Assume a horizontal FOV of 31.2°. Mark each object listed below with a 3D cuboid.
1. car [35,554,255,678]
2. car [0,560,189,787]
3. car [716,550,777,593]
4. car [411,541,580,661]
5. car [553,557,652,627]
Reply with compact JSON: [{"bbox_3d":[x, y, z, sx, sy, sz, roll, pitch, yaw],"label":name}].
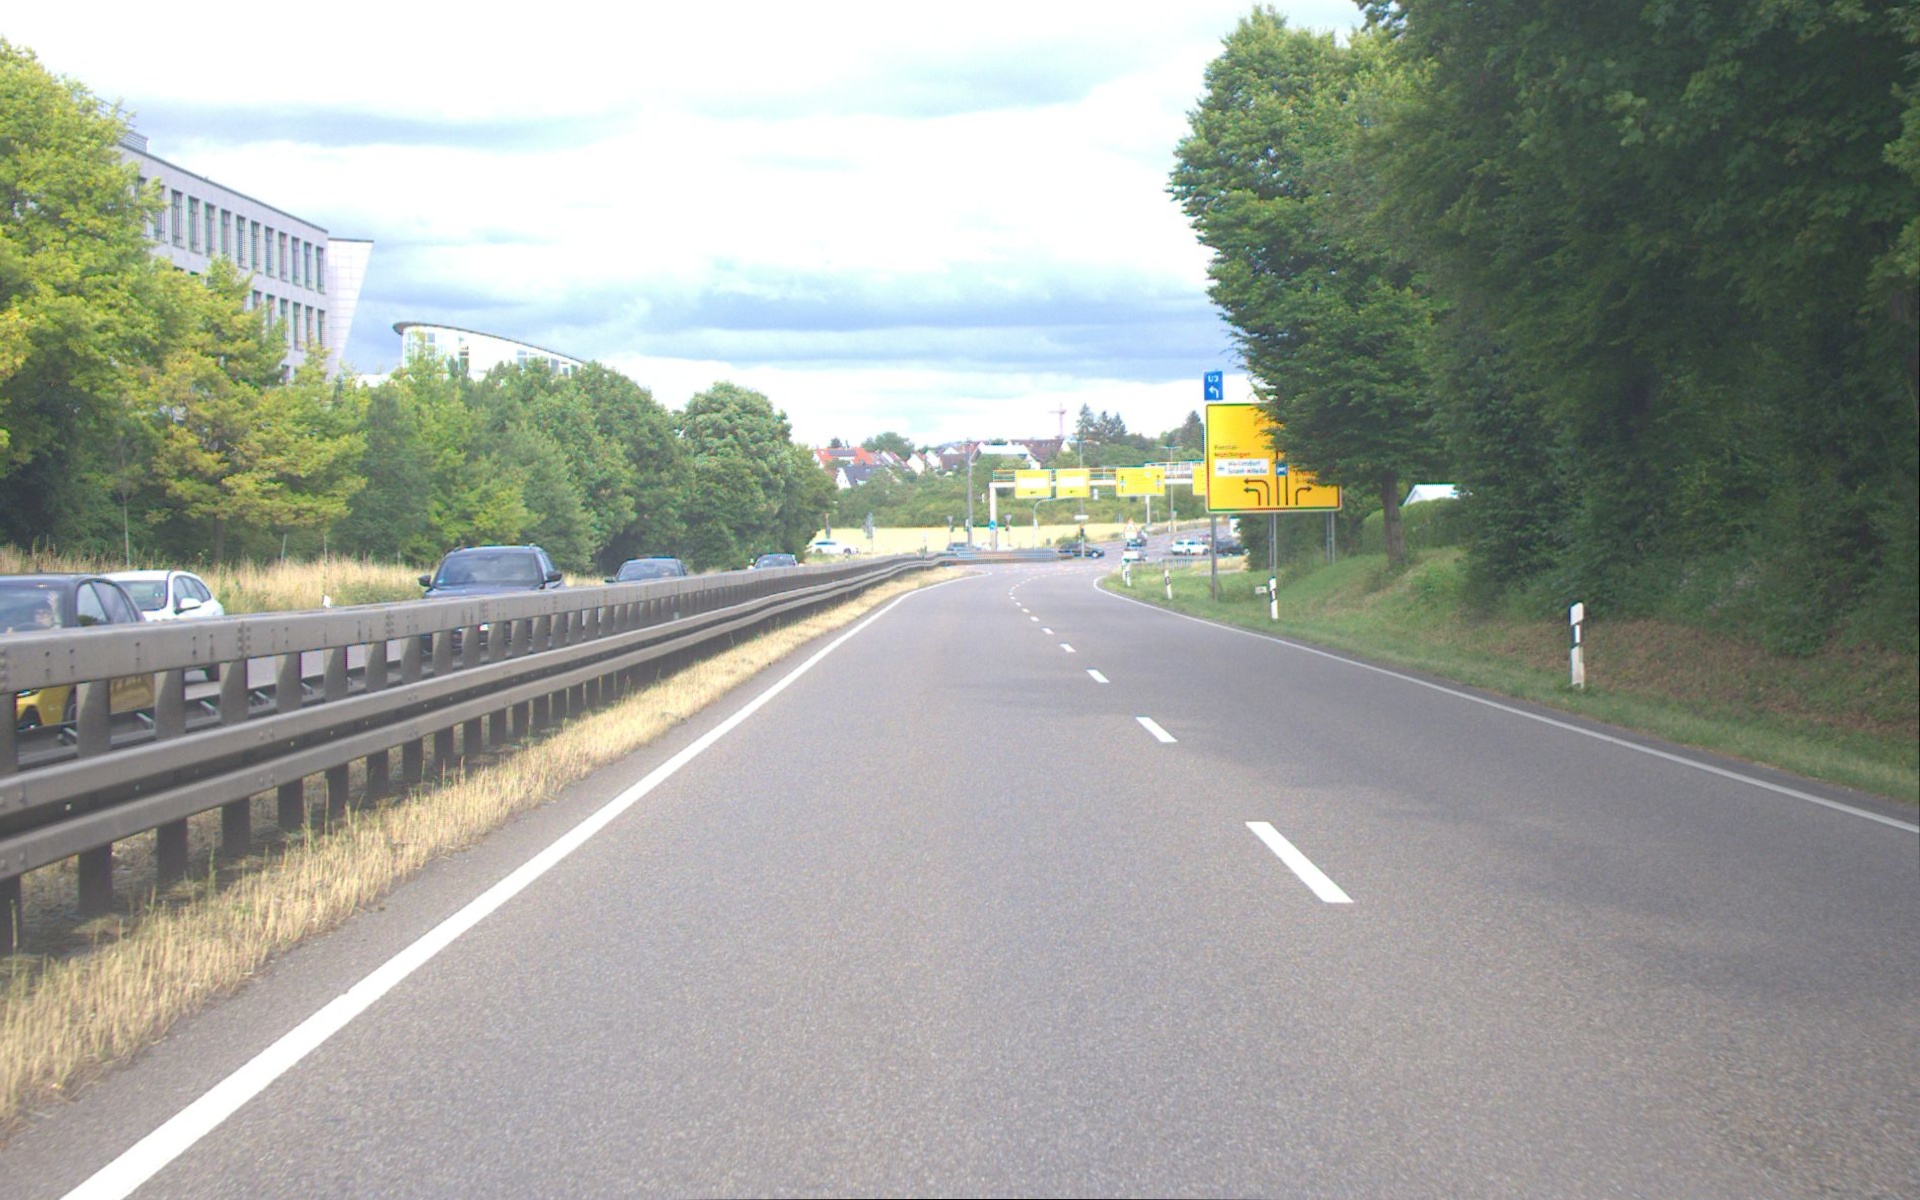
[{"bbox_3d":[-10.545,0.164,44.773,1.817,1.480,4.417,-1,1,0],"label":"car"},{"bbox_3d":[-6.630,0.459,23.970,1.591,1.442,4.000,-1,1,0],"label":"car"},{"bbox_3d":[-7.591,-1.020,122.371,1.835,1.374,4.566,-4,1,0],"label":"car"},{"bbox_3d":[-6.762,-0.032,50.548,1.742,1.639,5.280,-1,1,0],"label":"car"},{"bbox_3d":[-7.924,-0.204,76.535,1.742,1.453,4.312,-3,1,-1],"label":"car"}]
